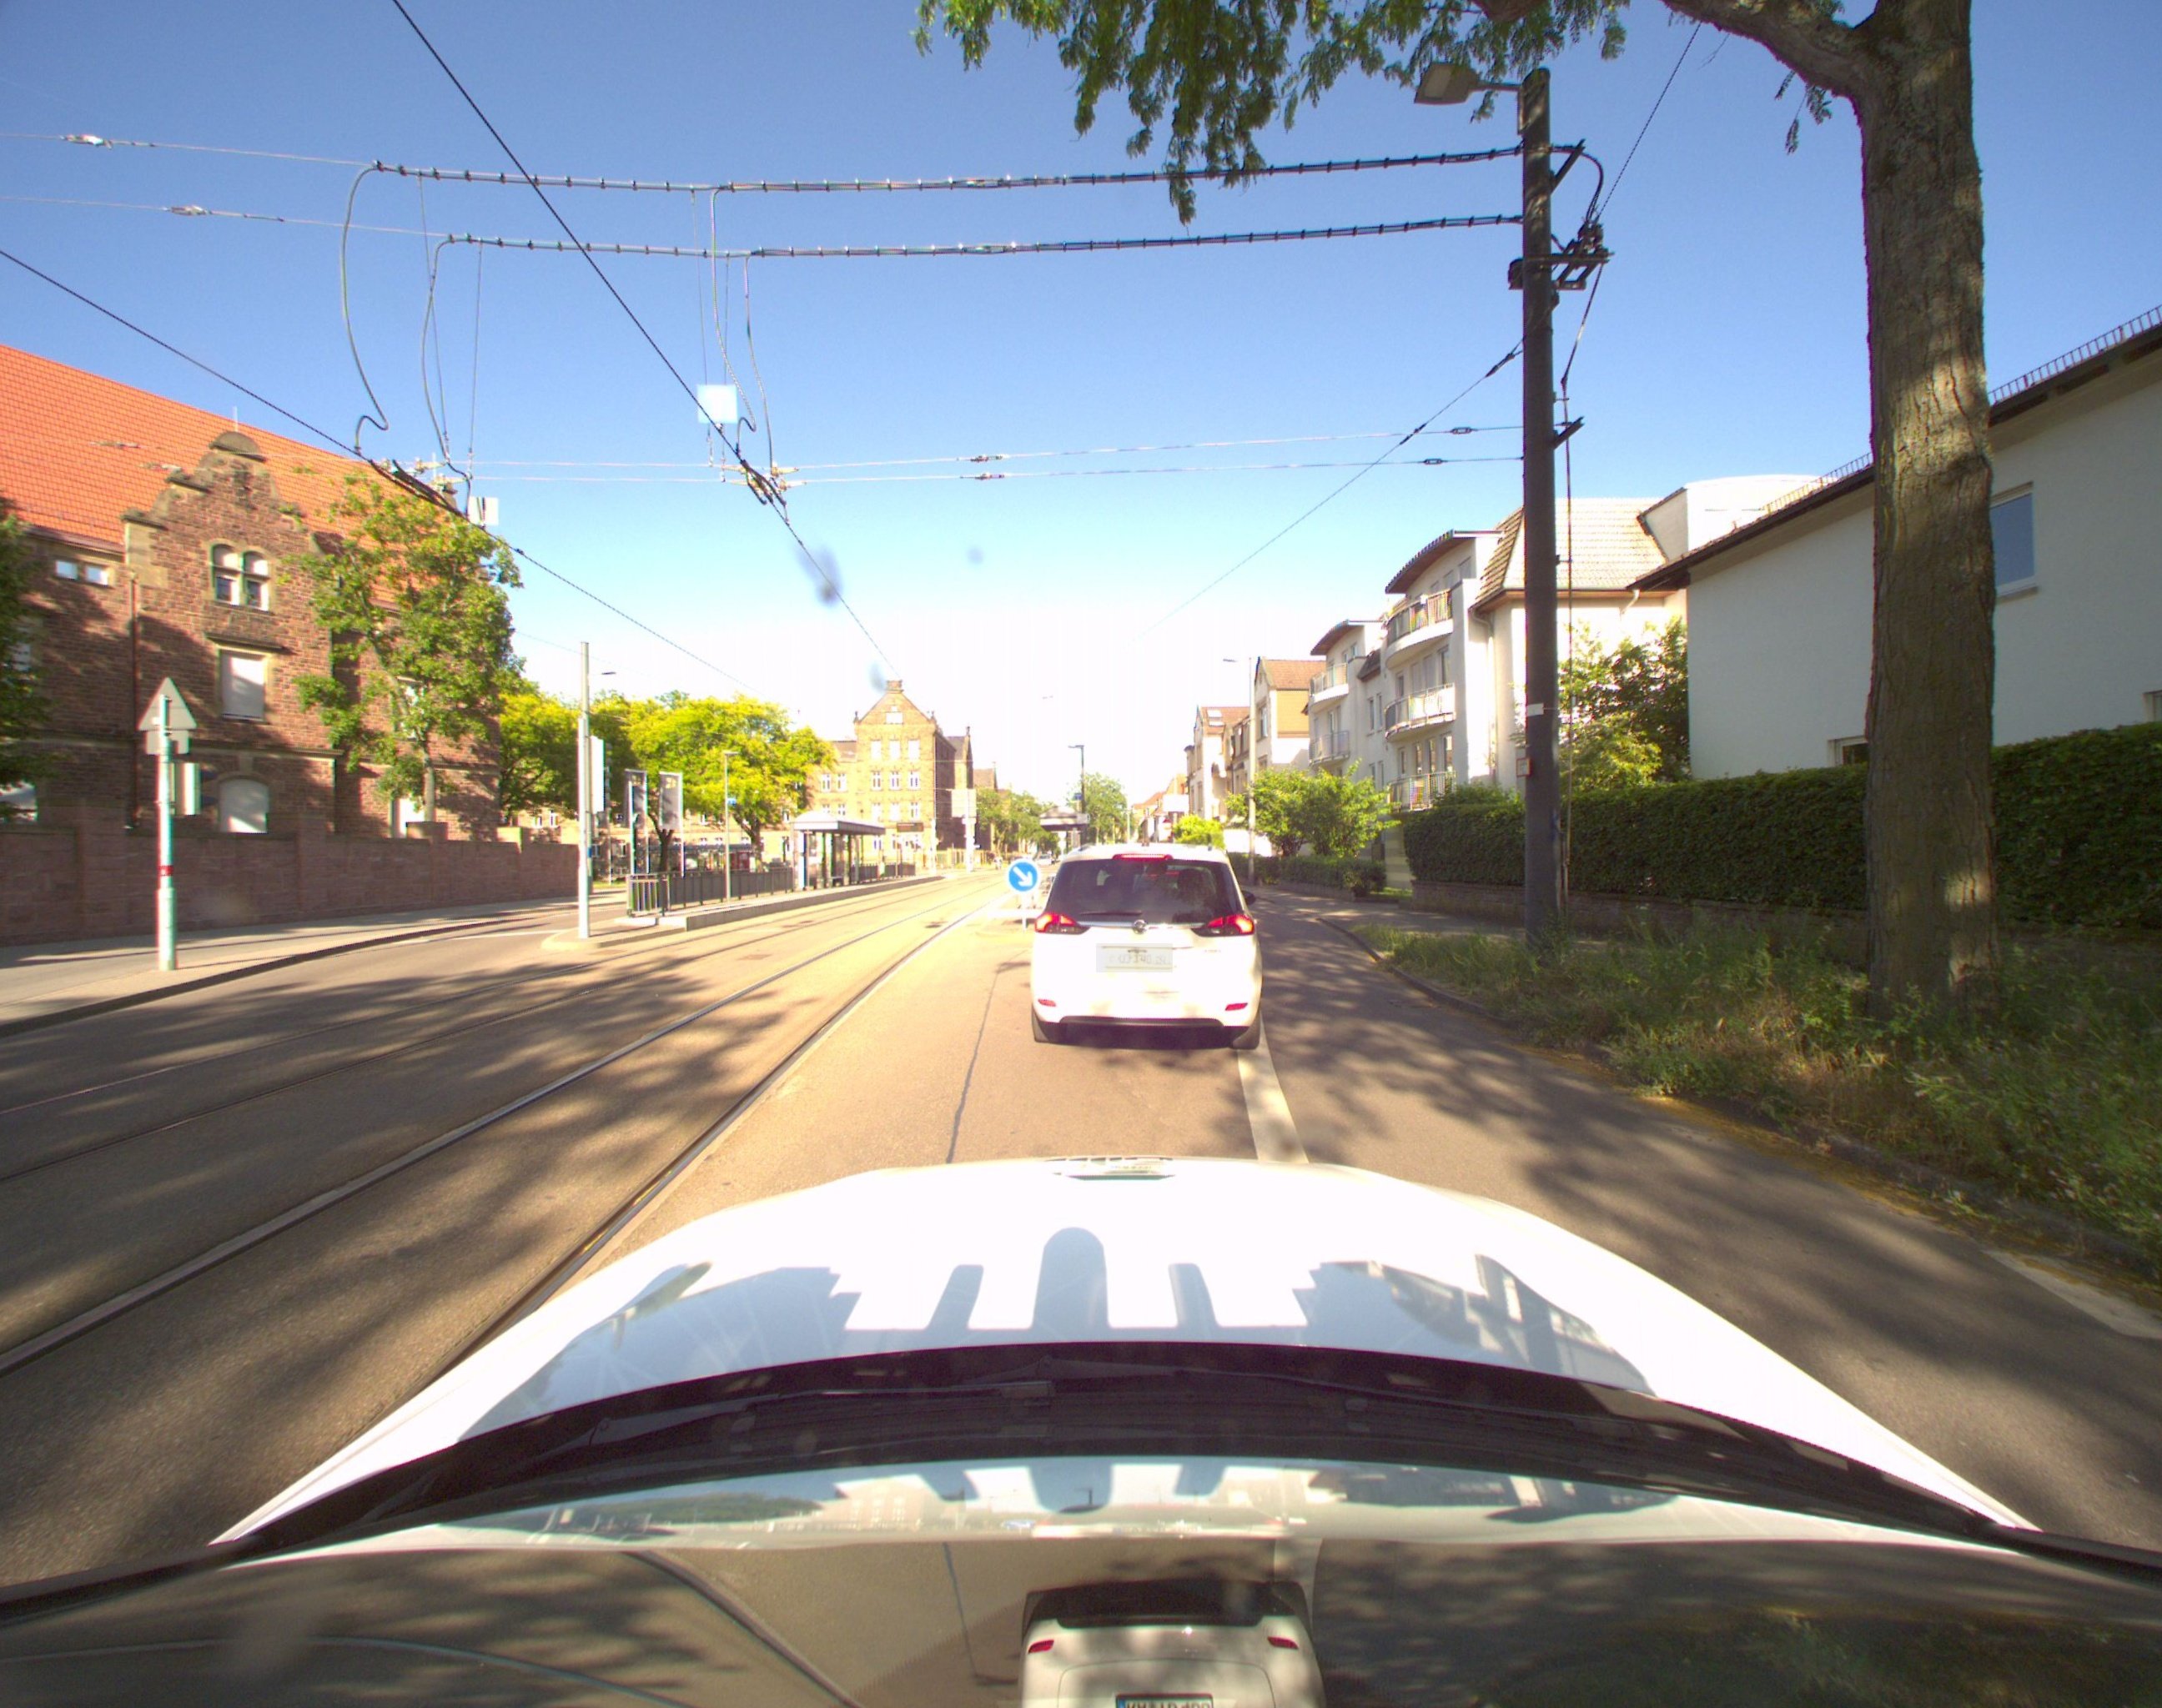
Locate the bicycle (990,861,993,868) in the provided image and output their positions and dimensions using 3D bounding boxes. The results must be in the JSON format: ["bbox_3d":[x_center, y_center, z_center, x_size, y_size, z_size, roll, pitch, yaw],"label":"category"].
[{"bbox_3d":[-12.679,1.537,115.641,0.343,0.950,0.996,0,-1,-1],"label":"bicycle"}]

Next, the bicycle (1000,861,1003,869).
[{"bbox_3d":[-10.662,1.473,109.613,0.343,0.950,0.996,0,-1,-1],"label":"bicycle"}]

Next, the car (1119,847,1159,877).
[{"bbox_3d":[3.130,0.419,44.382,1.986,1.503,4.002,-1,0,2],"label":"car"}]

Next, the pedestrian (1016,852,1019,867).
[{"bbox_3d":[-8.769,0.785,112.396,0.443,2.013,0.495,-1,0,-2],"label":"pedestrian"}]

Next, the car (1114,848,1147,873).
[{"bbox_3d":[3.104,0.390,51.849,1.986,1.503,4.002,-1,0,2],"label":"car"}]

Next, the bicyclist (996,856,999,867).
[{"bbox_3d":[-10.980,0.988,107.029,0.443,1.553,0.495,-1,0,-2],"label":"bicyclist"}]

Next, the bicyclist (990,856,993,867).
[{"bbox_3d":[-12.685,1.069,115.607,0.443,1.553,0.495,-1,0,-2],"label":"bicyclist"}]

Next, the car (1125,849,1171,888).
[{"bbox_3d":[2.934,0.615,36.256,1.824,1.579,4.012,-1,0,2],"label":"car"}]

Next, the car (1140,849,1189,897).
[{"bbox_3d":[2.948,0.639,29.326,1.630,1.601,3.859,-1,0,4],"label":"car"}]

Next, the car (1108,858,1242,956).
[{"bbox_3d":[1.536,0.794,14.071,1.944,1.397,4.005,-1,0,4],"label":"car"}]

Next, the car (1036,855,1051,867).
[{"bbox_3d":[-5.297,0.963,114.749,1.989,1.629,3.996,-1,0,-3],"label":"car"}]

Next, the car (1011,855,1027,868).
[{"bbox_3d":[-8.192,0.933,107.485,1.989,1.629,3.996,-1,0,-3],"label":"car"}]

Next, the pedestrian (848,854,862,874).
[{"bbox_3d":[-19.418,0.855,69.908,0.892,1.684,1.029,0,-1,1],"label":"pedestrian"}]

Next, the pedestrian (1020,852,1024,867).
[{"bbox_3d":[-8.169,0.782,112.650,0.443,2.013,0.495,-1,0,-2],"label":"pedestrian"}]

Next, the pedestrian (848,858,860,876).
[{"bbox_3d":[-19.928,1.139,71.599,0.799,1.588,0.934,0,-1,-1],"label":"pedestrian"}]

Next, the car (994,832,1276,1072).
[{"bbox_3d":[0.649,0.687,7.709,1.982,1.644,4.003,0,0,8],"label":"car"}]

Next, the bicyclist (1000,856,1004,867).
[{"bbox_3d":[-10.663,1.006,109.608,0.443,1.553,0.495,-1,0,-2],"label":"bicyclist"}]

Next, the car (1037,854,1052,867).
[{"bbox_3d":[-4.816,0.901,107.627,1.989,1.629,3.996,-1,0,-3],"label":"car"}]

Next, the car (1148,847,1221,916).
[{"bbox_3d":[2.578,0.641,20.900,1.630,1.601,3.859,-1,0,4],"label":"car"}]

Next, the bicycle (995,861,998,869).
[{"bbox_3d":[-10.715,1.424,103.528,0.343,0.950,1.160,0,-1,-1],"label":"bicycle"}]

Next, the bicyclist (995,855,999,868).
[{"bbox_3d":[-10.707,0.958,103.739,0.443,1.553,0.742,-1,0,-2],"label":"bicyclist"}]

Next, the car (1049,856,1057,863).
[{"bbox_3d":[-6.920,1.287,201.601,1.989,1.629,3.984,-1,0,-3],"label":"car"}]

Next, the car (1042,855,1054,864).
[{"bbox_3d":[-5.964,0.960,148.561,1.987,1.629,4.000,-1,0,0],"label":"car"}]
